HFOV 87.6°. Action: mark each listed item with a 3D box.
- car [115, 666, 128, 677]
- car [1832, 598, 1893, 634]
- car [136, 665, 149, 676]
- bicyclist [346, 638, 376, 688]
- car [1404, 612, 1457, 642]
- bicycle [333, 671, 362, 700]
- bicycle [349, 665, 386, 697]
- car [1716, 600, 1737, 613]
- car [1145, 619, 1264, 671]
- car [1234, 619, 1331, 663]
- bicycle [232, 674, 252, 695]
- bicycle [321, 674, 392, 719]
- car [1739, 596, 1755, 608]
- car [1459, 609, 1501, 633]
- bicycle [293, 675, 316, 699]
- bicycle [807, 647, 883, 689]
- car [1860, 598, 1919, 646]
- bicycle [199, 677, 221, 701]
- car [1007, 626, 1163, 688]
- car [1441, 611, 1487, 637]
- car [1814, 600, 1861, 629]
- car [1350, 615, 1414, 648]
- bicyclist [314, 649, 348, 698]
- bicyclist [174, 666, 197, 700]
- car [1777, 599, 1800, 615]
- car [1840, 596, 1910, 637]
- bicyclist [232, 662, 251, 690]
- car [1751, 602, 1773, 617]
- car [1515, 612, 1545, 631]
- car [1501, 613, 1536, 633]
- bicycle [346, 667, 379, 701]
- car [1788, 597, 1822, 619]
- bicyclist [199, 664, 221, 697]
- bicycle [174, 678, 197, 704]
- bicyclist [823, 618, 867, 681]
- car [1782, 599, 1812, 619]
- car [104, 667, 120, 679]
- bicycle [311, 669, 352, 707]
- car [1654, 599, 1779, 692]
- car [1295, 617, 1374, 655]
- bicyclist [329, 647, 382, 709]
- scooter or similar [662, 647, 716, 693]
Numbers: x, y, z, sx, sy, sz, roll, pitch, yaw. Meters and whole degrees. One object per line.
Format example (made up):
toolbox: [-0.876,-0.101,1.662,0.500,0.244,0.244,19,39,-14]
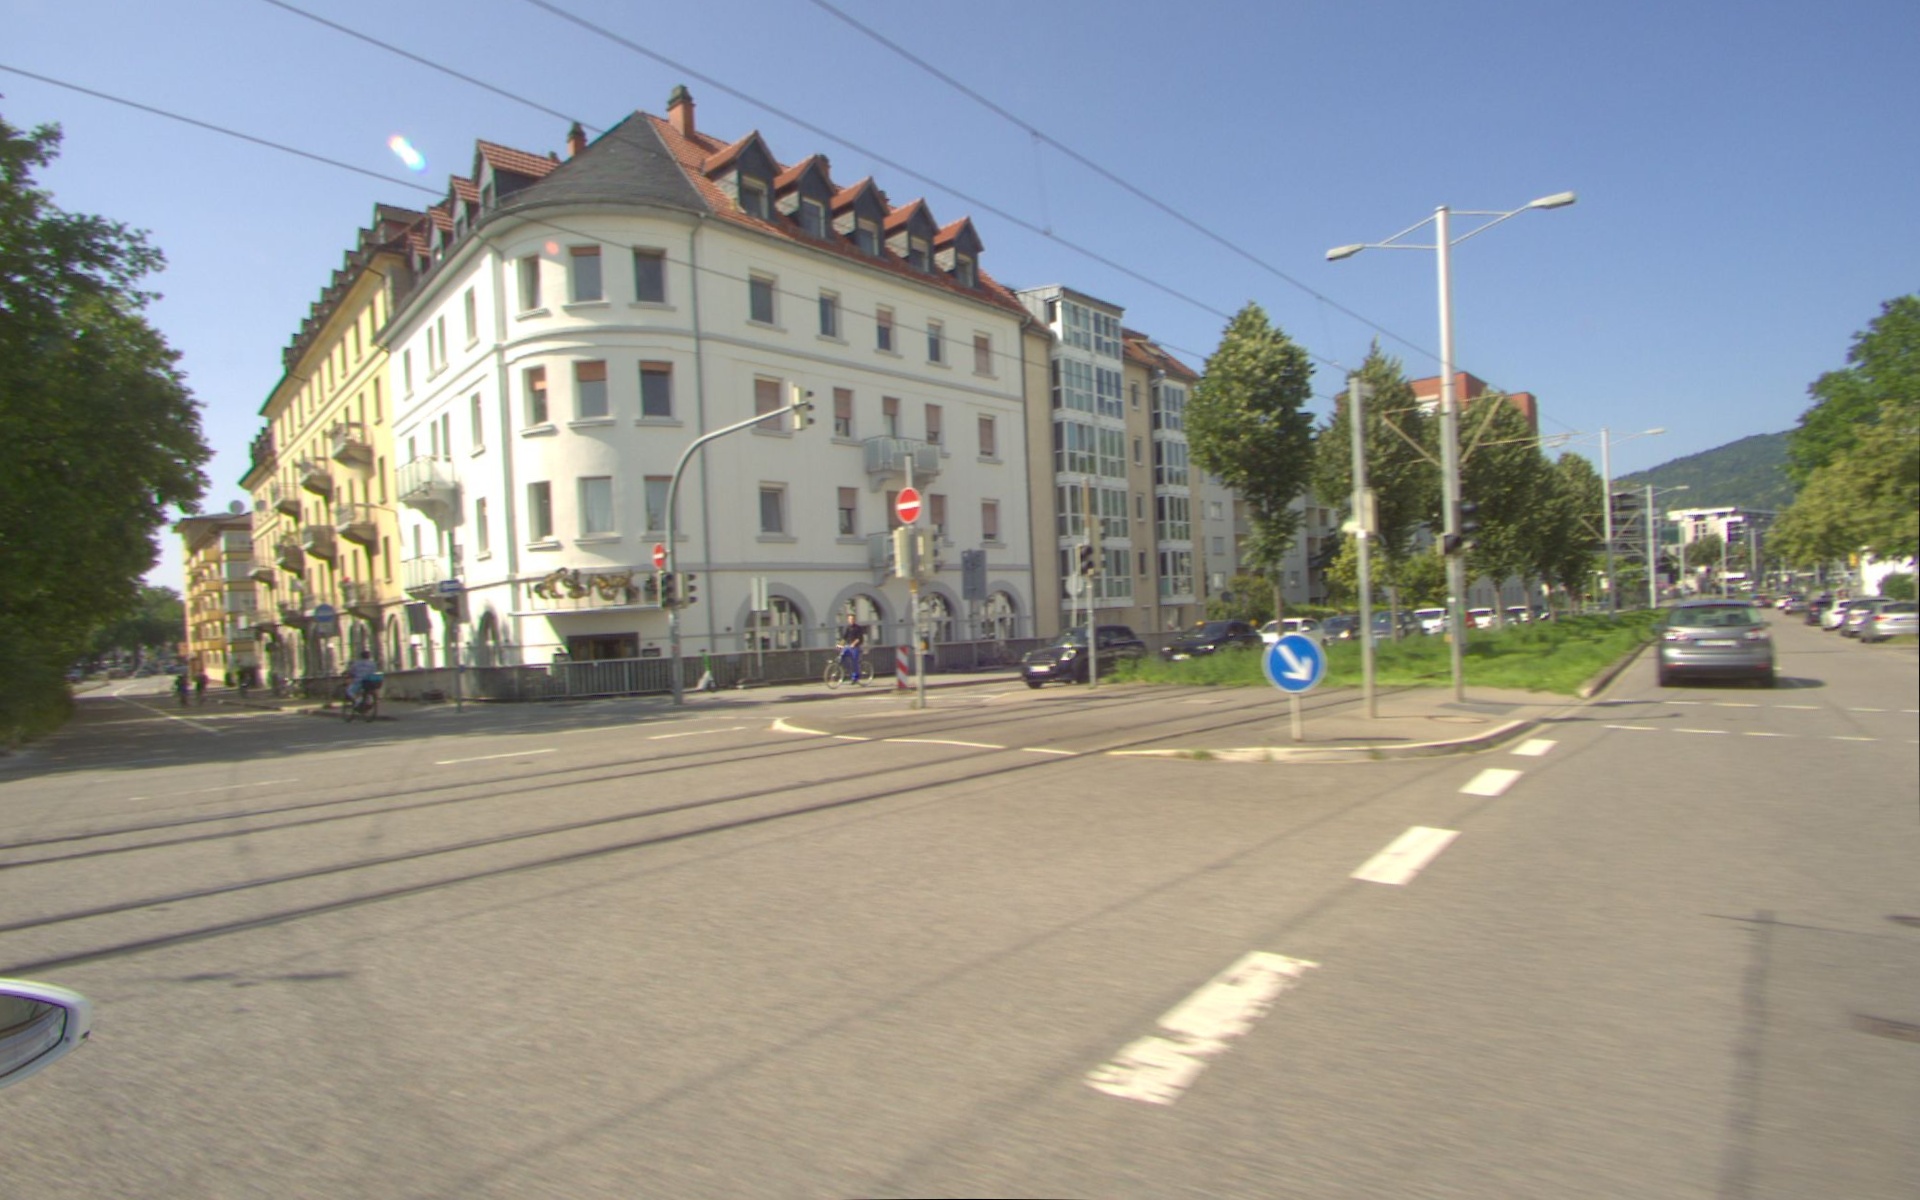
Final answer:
car: [-140.230,11.998,167.490,1.614,1.644,3.663,0,-1,-41]
car: [40.713,0.730,45.244,1.719,1.503,3.713,-3,-2,38]
car: [-138.429,11.957,169.502,1.614,1.644,3.663,0,-1,-41]
bicyclist: [-19.846,2.068,33.172,0.701,1.570,0.779,-4,1,-37]
car: [24.007,1.353,50.995,1.745,1.371,3.976,-4,-3,35]
bicycle: [-24.831,3.429,40.564,0.674,1.089,2.275,-1,-2,-39]
bicycle: [-22.299,3.032,37.636,0.830,1.151,2.838,-1,-3,-38]
car: [93.607,0.808,122.296,1.779,1.503,3.711,-4,-2,40]
car: [7.403,1.337,30.107,1.750,1.371,3.966,-4,-3,42]
car: [11.201,1.392,34.616,1.749,1.371,3.968,-4,-3,41]
bicycle: [-41.317,4.861,57.621,0.830,1.151,2.839,-1,-3,-38]
bicycle: [-14.659,2.332,24.298,2.222,1.002,0.861,-4,-3,42]
car: [119.528,0.314,152.010,1.779,1.703,3.711,-4,-2,40]
car: [31.692,1.270,60.977,1.745,1.371,3.976,-4,-3,35]
bicycle: [-31.672,4.200,48.402,0.674,1.089,2.275,-1,-2,-39]
bicycle: [-3.115,1.812,27.106,1.882,1.033,0.819,-1,-1,-25]
car: [31.242,0.702,33.249,1.719,1.503,3.713,-3,-2,38]
bicycle: [-37.518,4.433,50.074,0.830,1.151,2.839,-1,-3,-38]
car: [3.131,1.371,24.553,1.751,1.337,3.963,-5,-3,44]
car: [28.702,1.343,56.992,1.745,1.371,3.976,-4,-3,35]
car: [48.704,0.800,55.626,1.719,1.503,3.713,-3,-2,38]
car: [19.316,1.429,45.743,1.747,1.371,3.973,-4,-3,37]
bicyclist: [-20.581,2.398,32.770,0.830,1.527,0.946,-1,-2,-38]
bicyclist: [-36.831,3.920,47.622,0.830,1.557,1.016,-1,-2,-38]
car: [84.428,0.746,102.033,1.721,1.503,3.711,-4,-2,40]
car: [36.307,0.649,39.801,1.719,1.503,3.713,-3,-2,38]
bicyclist: [-41.269,4.387,57.549,0.830,1.557,1.016,-1,-2,-38]
car: [89.151,1.036,111.355,1.779,1.503,3.711,-4,-2,40]
car: [46.118,1.732,80.999,1.745,1.371,3.976,-4,-3,35]
car: [40.917,1.650,73.323,1.745,1.371,3.976,-4,-3,35]
bicycle: [-19.878,2.765,33.289,0.701,1.004,1.806,-4,1,-37]
car: [62.713,0.586,74.364,1.719,1.503,3.713,-3,-2,38]
bicyclist: [-37.571,4.028,50.139,0.830,1.557,1.016,-1,-2,-38]
bicycle: [-36.848,4.330,47.642,0.830,1.151,2.839,-1,-3,-37]
bicyclist: [-3.120,1.334,27.127,0.993,1.675,0.806,0,-1,-25]
car: [67.512,0.739,80.800,1.719,1.503,3.713,-3,-2,38]
car: [-119.144,10.244,140.725,1.614,1.644,3.663,0,-1,-41]
bicycle: [-20.625,2.875,32.837,0.830,1.151,2.838,-1,-3,-38]
car: [14.144,0.801,18.896,1.674,1.576,3.634,-2,-1,34]
car: [14.990,1.427,39.986,1.748,1.371,3.970,-4,-3,39]
bicyclist: [-14.678,1.878,24.309,0.907,1.433,0.861,-3,-2,42]
scooter or similar: [-7.105,1.826,26.262,1.285,1.132,0.337,-1,-1,-29]
